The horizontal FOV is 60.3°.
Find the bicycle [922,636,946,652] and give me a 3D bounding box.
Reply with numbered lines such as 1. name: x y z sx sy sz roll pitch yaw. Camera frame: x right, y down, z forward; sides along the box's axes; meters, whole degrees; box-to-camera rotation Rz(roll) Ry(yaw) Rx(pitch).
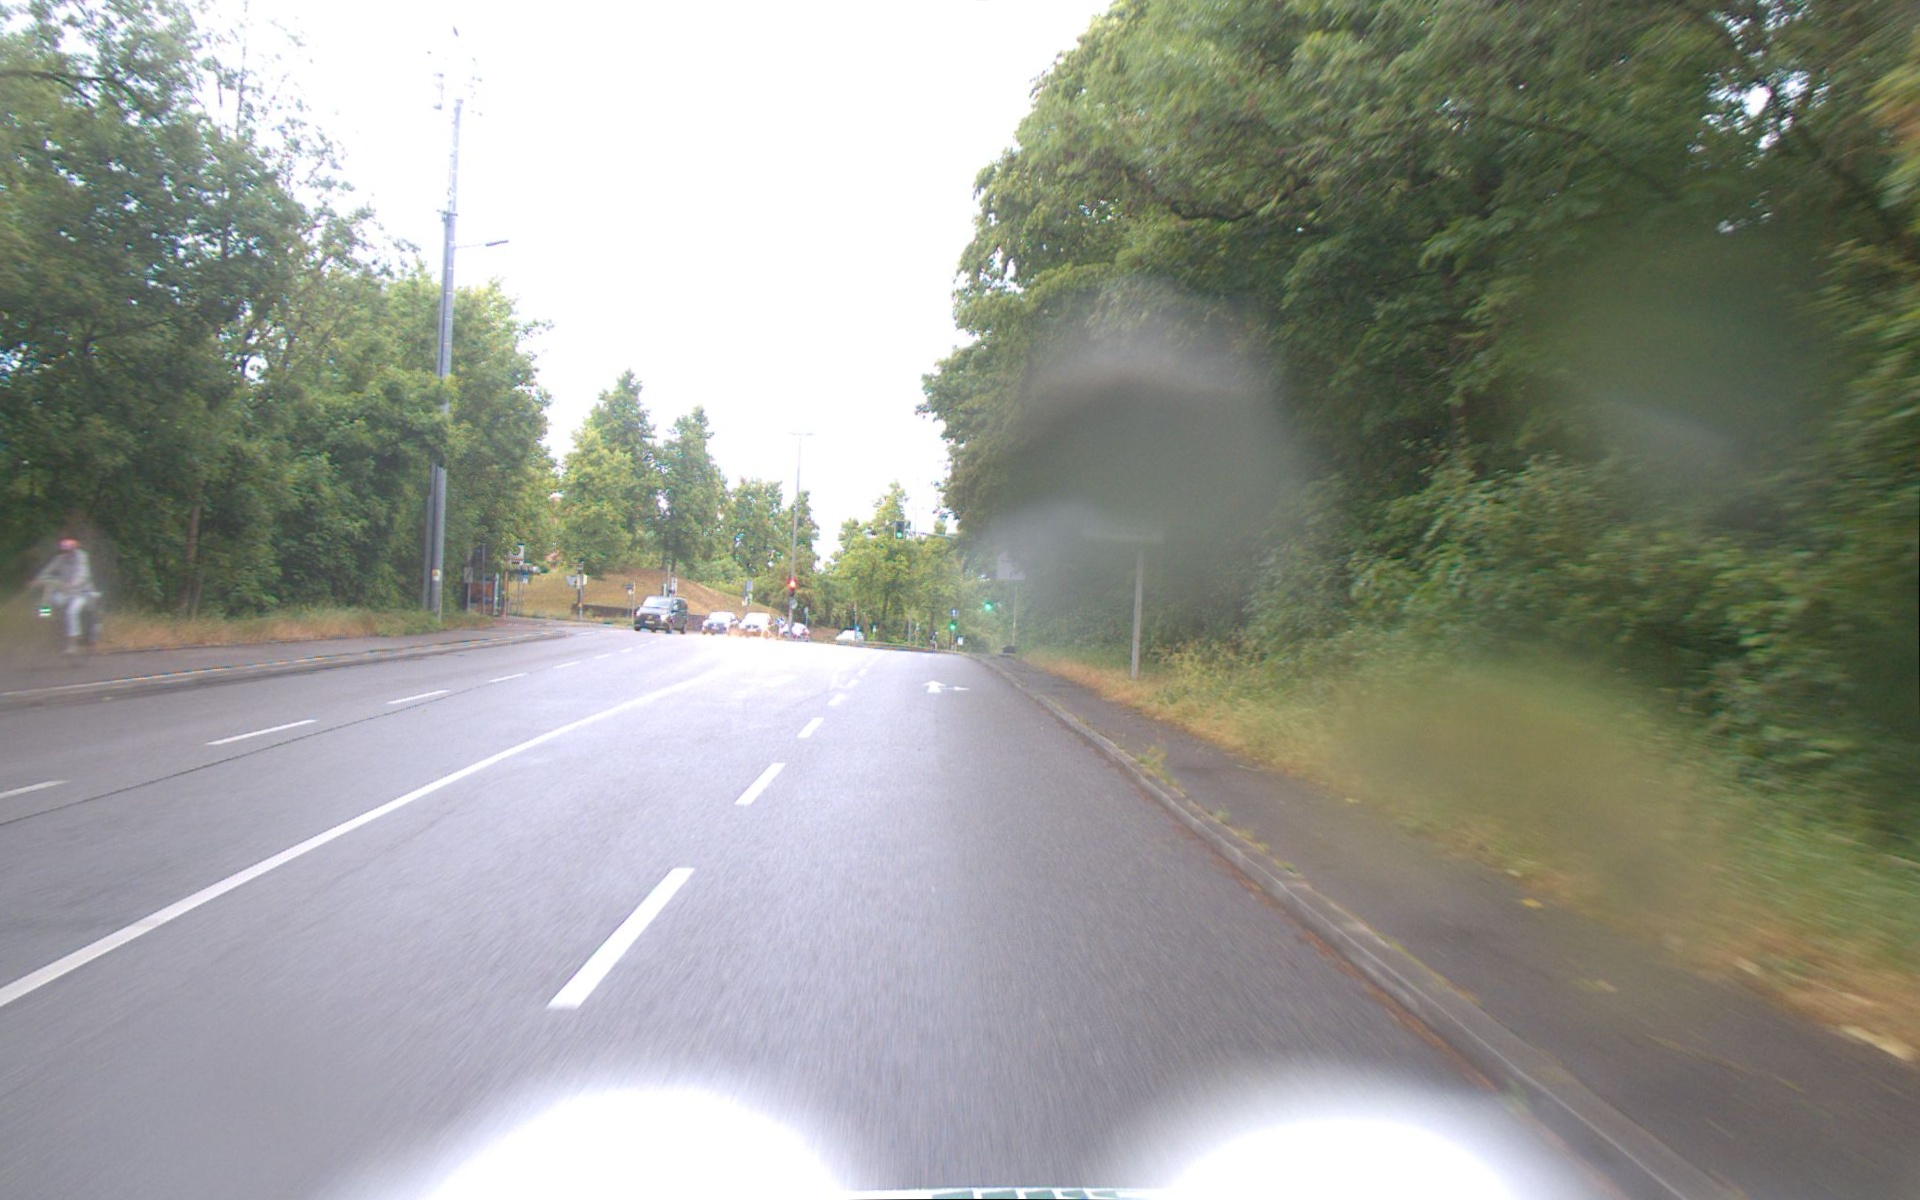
1. bicycle: -2.119 3.566 134.287 2.123 1.163 0.545 7 -4 -44

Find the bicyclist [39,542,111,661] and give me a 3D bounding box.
1. bicyclist: -12.292 0.025 22.990 0.567 1.614 0.700 1 -1 4

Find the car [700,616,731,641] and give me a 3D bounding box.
1. car: -14.697 1.719 99.553 1.600 1.419 3.995 2 -1 -6

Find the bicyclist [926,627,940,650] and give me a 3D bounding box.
1. bicyclist: -2.164 3.097 134.250 0.795 1.783 0.713 8 -7 -43

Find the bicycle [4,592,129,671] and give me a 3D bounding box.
1. bicycle: -12.326 0.416 22.893 0.443 1.021 2.018 4 0 4

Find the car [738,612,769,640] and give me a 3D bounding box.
1. car: -11.731 1.467 94.046 1.668 1.452 4.072 4 -1 -7

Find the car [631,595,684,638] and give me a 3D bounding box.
1. car: -15.935 0.888 87.473 2.062 1.979 5.154 6 -2 -5

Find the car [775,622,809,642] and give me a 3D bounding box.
1. car: -12.534 2.411 123.905 1.836 1.398 4.386 3 -1 3
